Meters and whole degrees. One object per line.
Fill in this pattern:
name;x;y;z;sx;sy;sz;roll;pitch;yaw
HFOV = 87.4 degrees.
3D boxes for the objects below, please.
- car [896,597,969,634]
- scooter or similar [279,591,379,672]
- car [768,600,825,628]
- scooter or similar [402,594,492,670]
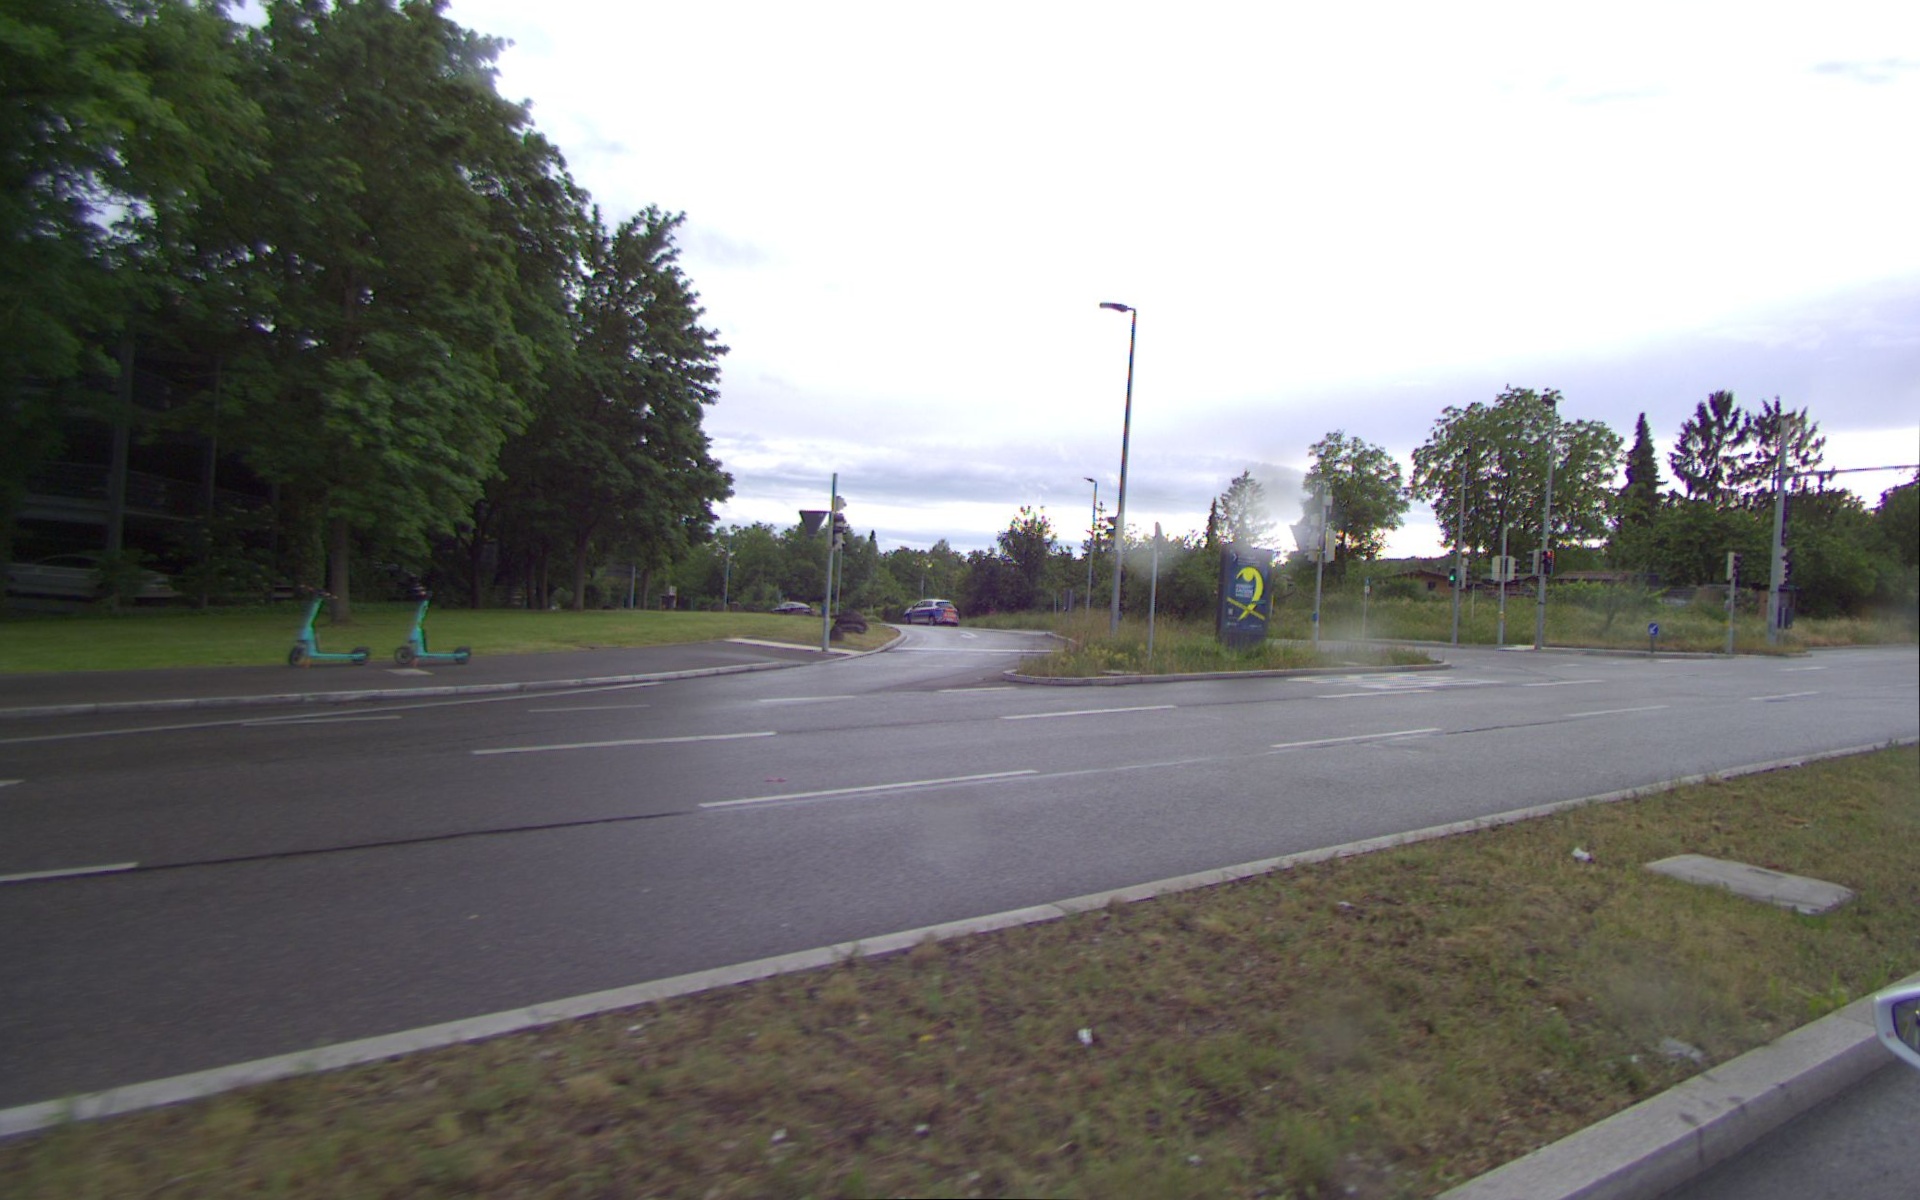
car;-1.630;0.880;57.766;2.065;1.741;4.152;3;2;-38
scooter or similar;-9.997;0.486;15.938;1.299;1.234;0.308;0;1;-45
car;-11.702;0.998;71.777;2.152;1.603;4.617;3;1;-35
scooter or similar;-8.616;0.523;16.894;1.299;1.234;0.308;0;1;-45
